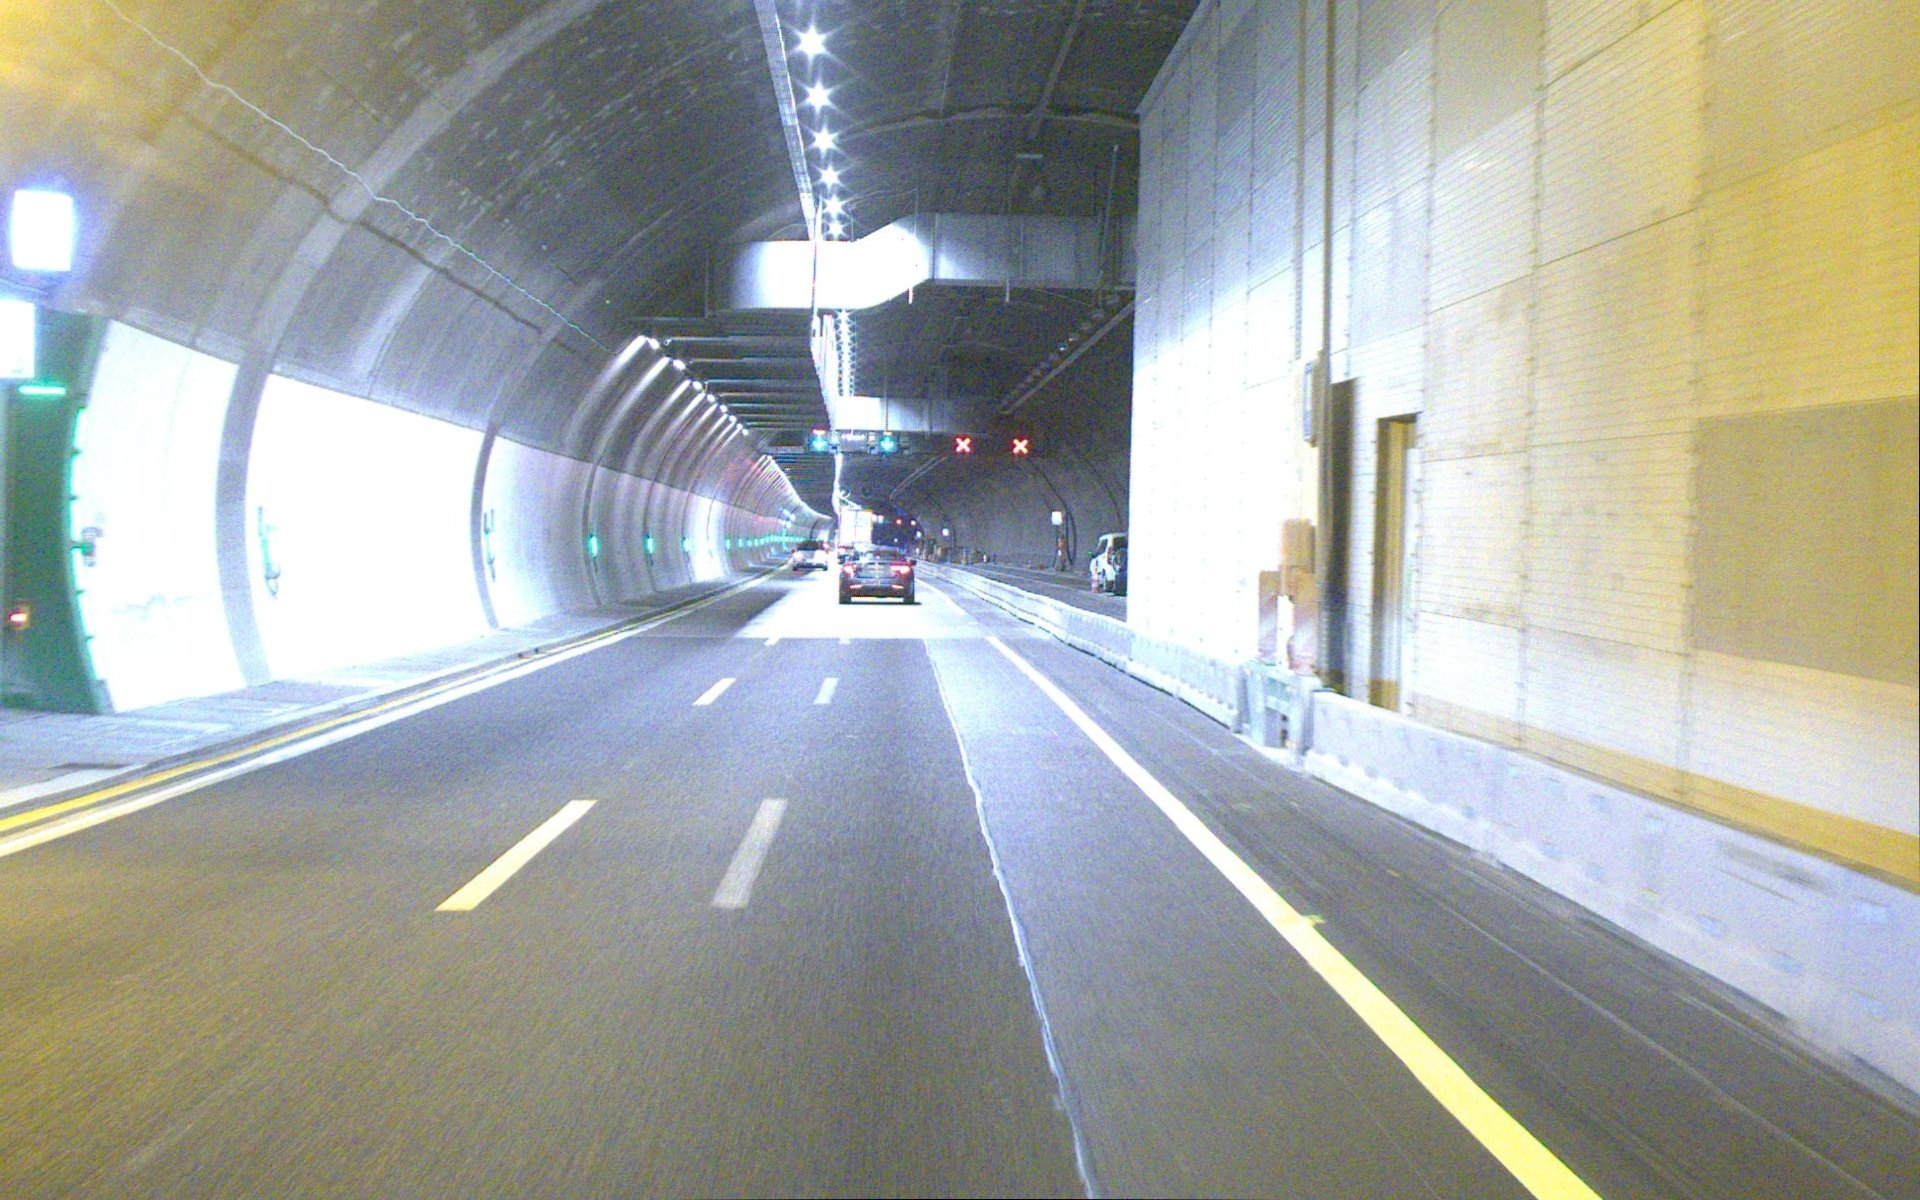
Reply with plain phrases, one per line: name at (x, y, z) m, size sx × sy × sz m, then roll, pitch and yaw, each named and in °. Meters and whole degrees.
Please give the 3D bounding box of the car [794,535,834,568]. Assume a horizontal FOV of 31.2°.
car at (-7.515, -2.500, 177.198) m, size 1.930 × 1.681 × 4.000 m, roll 0°, pitch 1°, yaw -1°

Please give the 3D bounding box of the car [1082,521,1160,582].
car at (5.028, -1.535, 107.882) m, size 1.750 × 1.839 × 4.647 m, roll -1°, pitch 1°, yaw -6°

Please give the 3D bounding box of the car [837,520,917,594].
car at (-2.076, -1.086, 85.770) m, size 1.946 × 1.788 × 4.000 m, roll 0°, pitch 1°, yaw -1°
